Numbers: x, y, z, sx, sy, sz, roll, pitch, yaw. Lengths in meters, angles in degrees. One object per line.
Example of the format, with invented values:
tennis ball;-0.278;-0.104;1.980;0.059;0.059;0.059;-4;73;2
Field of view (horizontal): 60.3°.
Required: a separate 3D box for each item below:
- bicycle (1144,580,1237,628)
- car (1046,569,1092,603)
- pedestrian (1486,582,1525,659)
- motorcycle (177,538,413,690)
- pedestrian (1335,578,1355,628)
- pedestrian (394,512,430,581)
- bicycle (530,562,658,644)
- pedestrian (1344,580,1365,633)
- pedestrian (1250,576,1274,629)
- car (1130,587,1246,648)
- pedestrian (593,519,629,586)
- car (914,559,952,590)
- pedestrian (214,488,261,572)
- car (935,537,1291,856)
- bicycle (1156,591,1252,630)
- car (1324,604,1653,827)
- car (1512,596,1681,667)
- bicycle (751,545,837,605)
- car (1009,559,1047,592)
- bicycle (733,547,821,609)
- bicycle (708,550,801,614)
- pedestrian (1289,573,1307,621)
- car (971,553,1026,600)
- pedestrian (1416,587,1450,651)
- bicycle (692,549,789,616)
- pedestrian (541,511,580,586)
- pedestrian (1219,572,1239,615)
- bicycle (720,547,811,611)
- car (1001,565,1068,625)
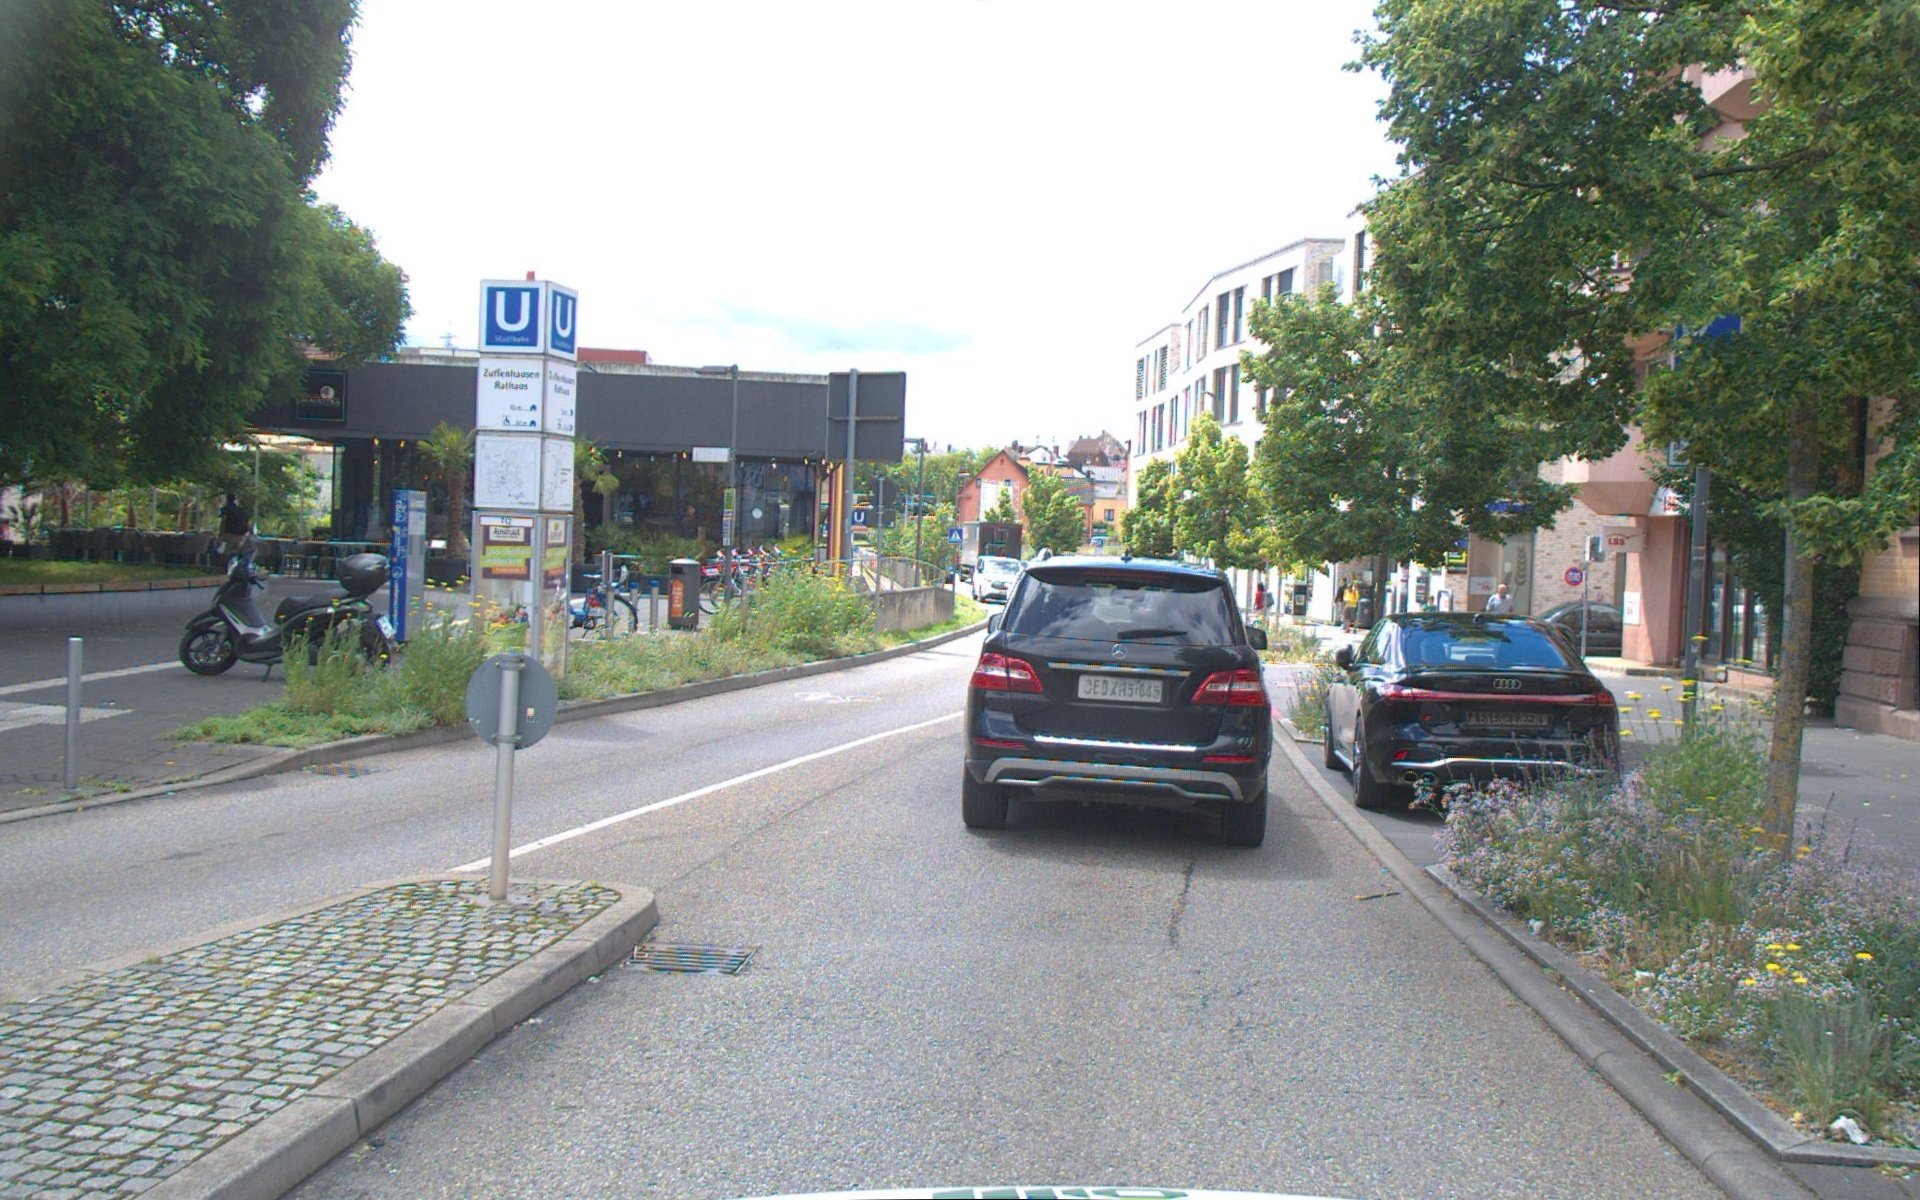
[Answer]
bicycle;7.664;0.127;55.081;2.995;1.512;0.710;1;1;2
car;4.732;-0.648;72.240;1.576;1.407;3.834;1;1;-3
pedestrian;12.039;0.438;36.527;0.618;1.654;0.700;2;1;6
motorcycle;-6.417;0.115;15.988;2.087;1.311;0.584;3;3;9
pedestrian;13.329;0.094;57.302;0.547;1.712;0.568;2;1;4
pedestrian;-11.408;-1.107;34.442;0.570;1.403;0.615;1;1;-5
bicycle;-4.844;0.030;21.908;1.577;1.014;0.500;2;1;13
pedestrian;13.102;0.202;54.923;0.547;1.721;0.639;2;1;4
pedestrian;10.045;0.078;54.989;0.649;1.712;0.568;2;1;2
car;5.738;0.414;41.335;1.578;1.407;3.830;2;1;29
pedestrian;-7.901;-1.076;37.442;0.569;1.489;0.616;1;1;15
car;-1.636;-1.543;98.805;1.806;1.635;3.995;4;1;-7
pedestrian;-14.086;-1.360;32.252;0.601;1.604;0.583;1;1;3
car;1.170;0.522;11.548;1.984;1.757;4.437;1;0;8
bicycle;7.911;0.337;53.673;2.995;1.166;0.710;1;1;2
car;4.044;0.778;13.362;1.817;1.430;4.378;1;0;8
car;17.526;0.854;45.694;3.904;1.593;1.848;4;1;6
bicycle;-3.222;-0.478;32.133;1.534;1.110;0.578;2;1;7
car;3.497;-1.270;85.256;1.803;1.550;4.001;4;1;1
bicycle;-3.451;-0.422;31.223;1.534;1.110;0.578;2;1;7
bicycle;-3.656;-0.324;29.498;1.534;1.087;0.539;2;1;7
pedestrian;12.316;-0.116;60.290;0.547;1.712;0.568;2;1;4
car;1.677;-1.058;72.707;1.805;1.890;4.493;4;1;-5
pedestrian;12.065;0.487;42.216;0.696;1.590;0.568;2;1;4
bicycle;-3.810;-0.310;28.741;1.534;1.110;0.578;2;1;7
pedestrian;-8.845;-1.138;36.589;0.605;1.646;0.579;2;1;42
pedestrian;10.892;-0.273;67.004;0.549;1.712;0.566;2;1;-15
bicycle;-3.560;-0.391;30.345;1.534;1.110;0.578;2;1;7
car;2.345;-0.171;51.012;1.802;1.635;4.003;4;1;5
